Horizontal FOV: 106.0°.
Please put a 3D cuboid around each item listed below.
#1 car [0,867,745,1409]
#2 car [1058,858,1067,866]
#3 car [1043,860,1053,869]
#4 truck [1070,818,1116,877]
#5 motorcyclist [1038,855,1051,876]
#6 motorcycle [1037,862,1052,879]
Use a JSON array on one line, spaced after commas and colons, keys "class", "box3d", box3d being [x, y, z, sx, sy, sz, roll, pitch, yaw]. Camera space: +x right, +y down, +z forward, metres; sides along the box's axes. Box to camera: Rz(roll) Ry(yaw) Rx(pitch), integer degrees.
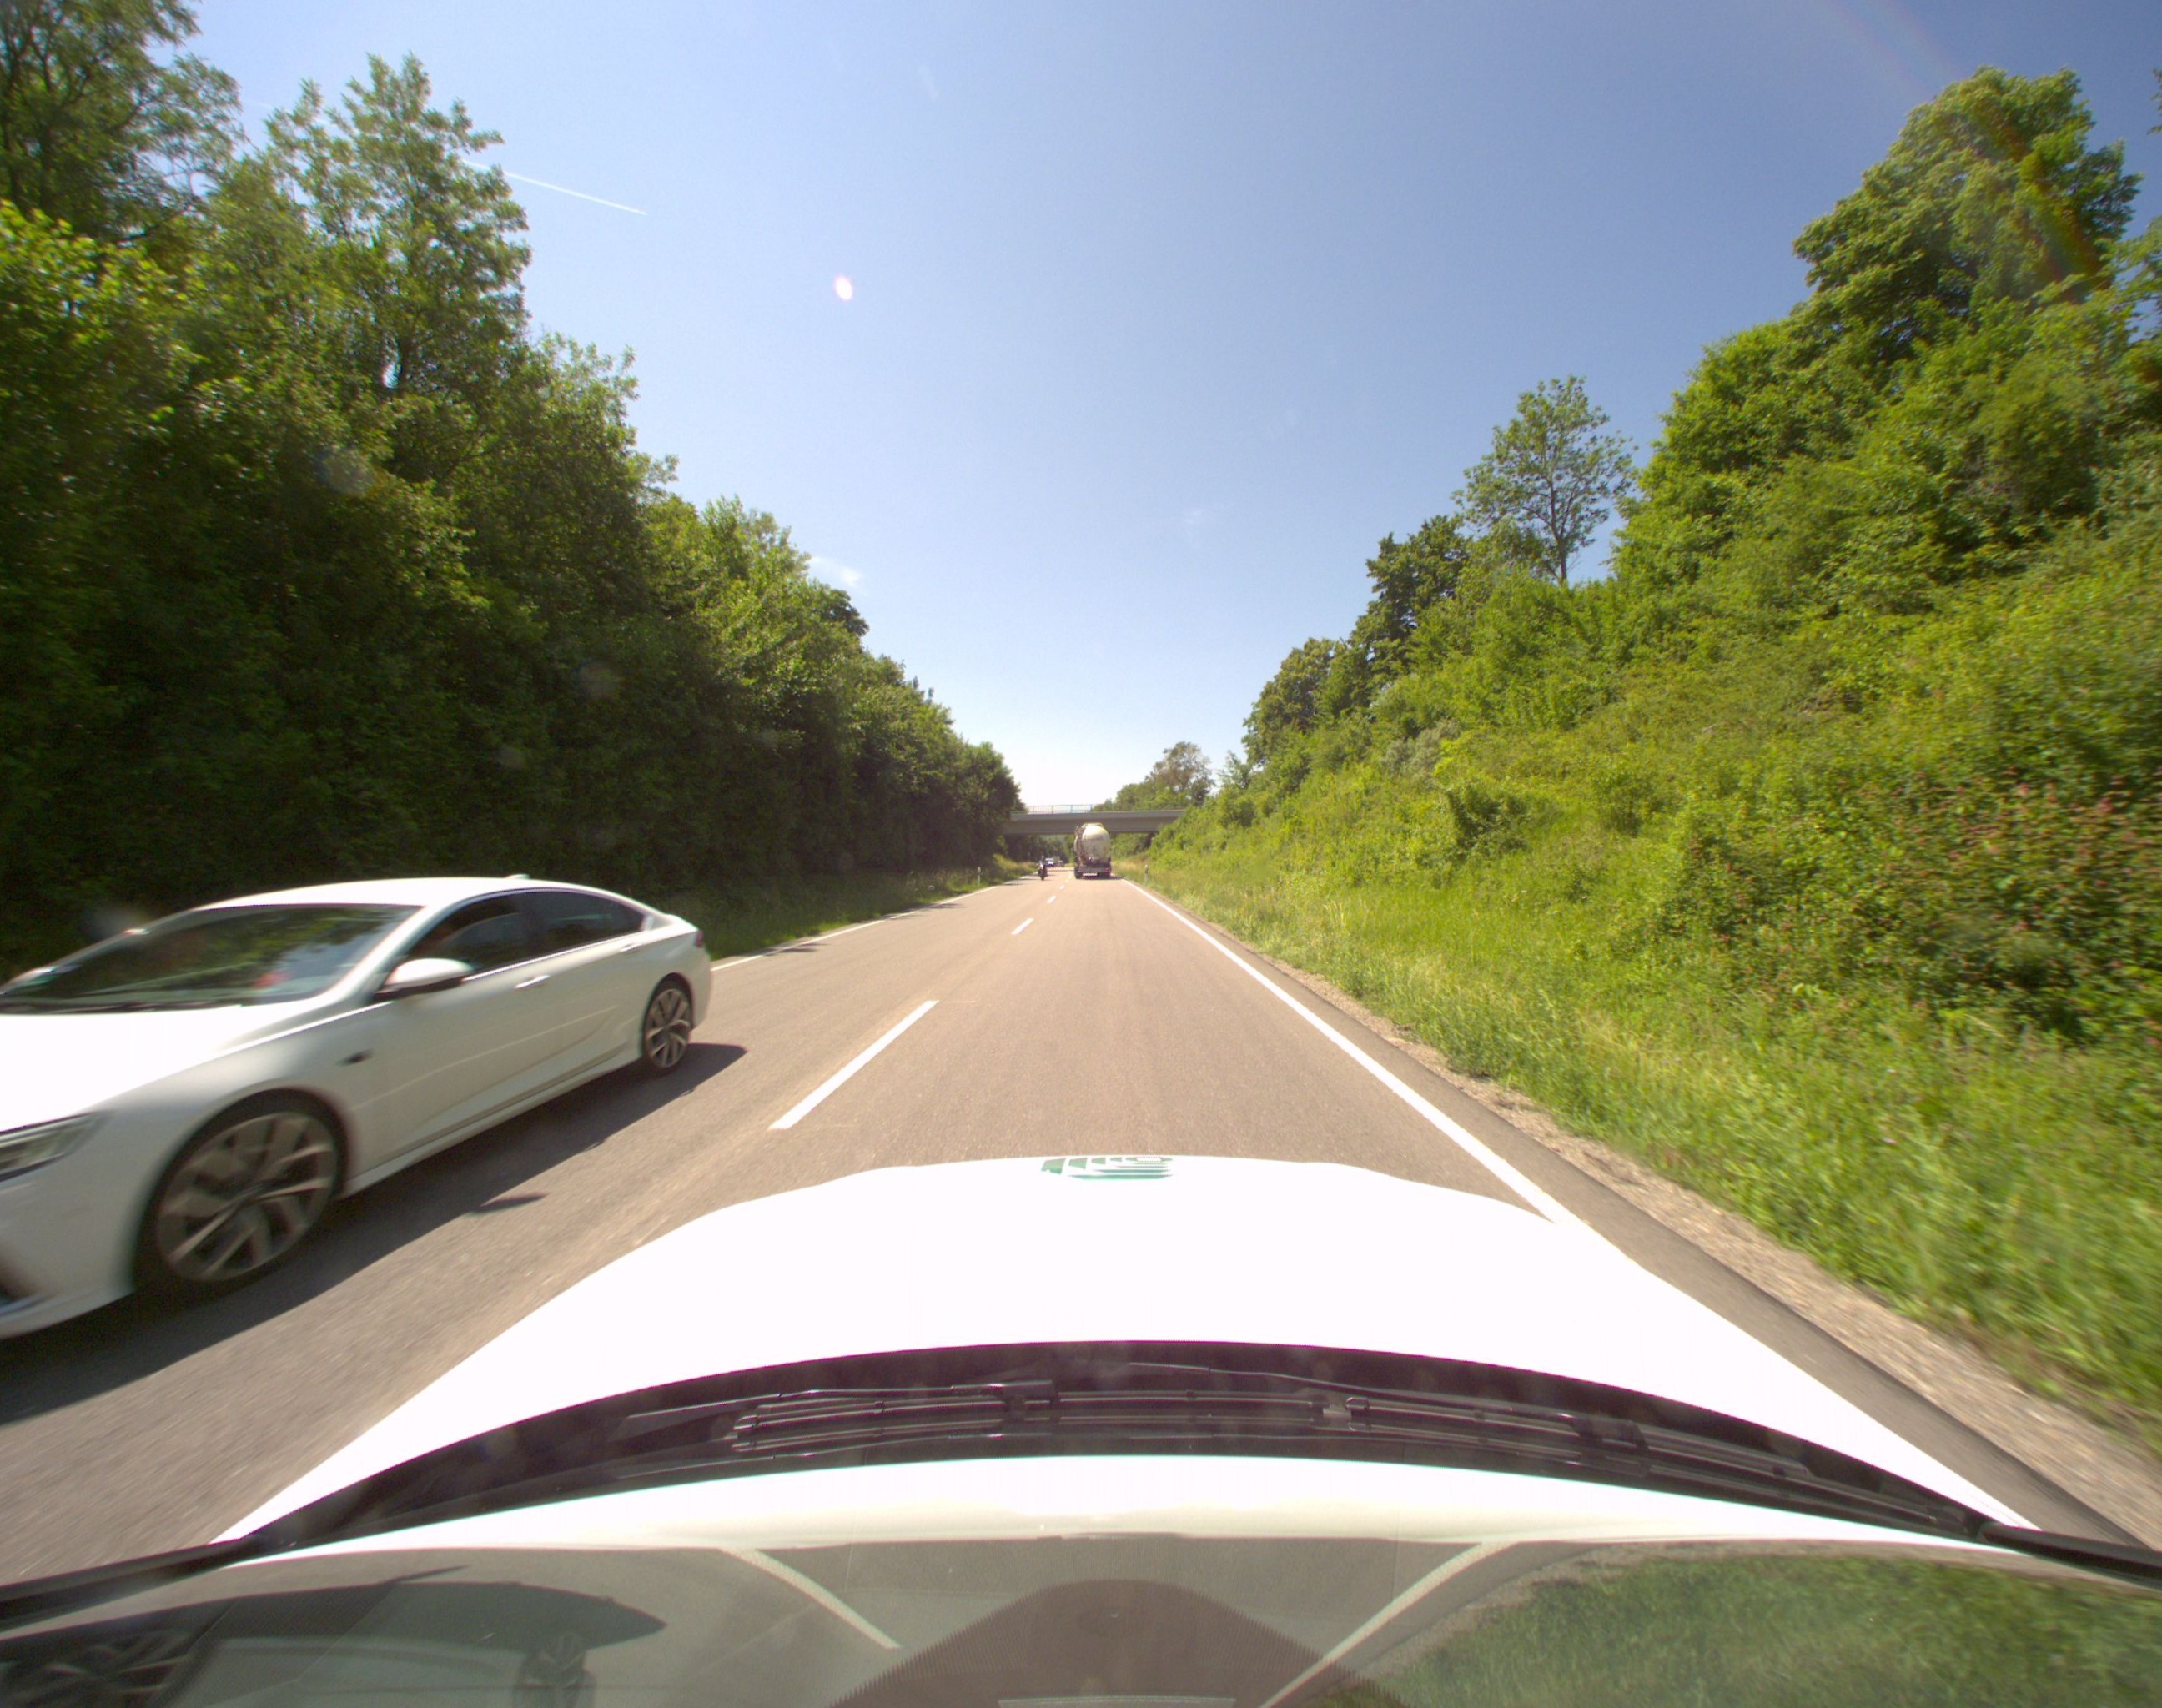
[{"class": "car", "box3d": [-3.803, 0.844, 4.635, 1.671, 1.461, 4.761, -1, 0, 2]}, {"class": "car", "box3d": [-4.714, 2.155, 208.358, 1.989, 2.014, 3.995, 0, -1, -3]}, {"class": "car", "box3d": [-6.950, 2.256, 172.343, 1.926, 1.906, 5.325, -1, 0, -1]}, {"class": "truck", "box3d": [0.819, -0.251, 63.928, 3.040, 3.999, 15.630, 2, -1, 0]}, {"class": "motorcyclist", "box3d": [-2.639, 0.824, 58.588, 0.846, 1.438, 1.074, -1, 0, 1]}, {"class": "motorcycle", "box3d": [-2.633, 1.180, 58.633, 0.860, 1.221, 2.443, -1, 0, 2]}]
